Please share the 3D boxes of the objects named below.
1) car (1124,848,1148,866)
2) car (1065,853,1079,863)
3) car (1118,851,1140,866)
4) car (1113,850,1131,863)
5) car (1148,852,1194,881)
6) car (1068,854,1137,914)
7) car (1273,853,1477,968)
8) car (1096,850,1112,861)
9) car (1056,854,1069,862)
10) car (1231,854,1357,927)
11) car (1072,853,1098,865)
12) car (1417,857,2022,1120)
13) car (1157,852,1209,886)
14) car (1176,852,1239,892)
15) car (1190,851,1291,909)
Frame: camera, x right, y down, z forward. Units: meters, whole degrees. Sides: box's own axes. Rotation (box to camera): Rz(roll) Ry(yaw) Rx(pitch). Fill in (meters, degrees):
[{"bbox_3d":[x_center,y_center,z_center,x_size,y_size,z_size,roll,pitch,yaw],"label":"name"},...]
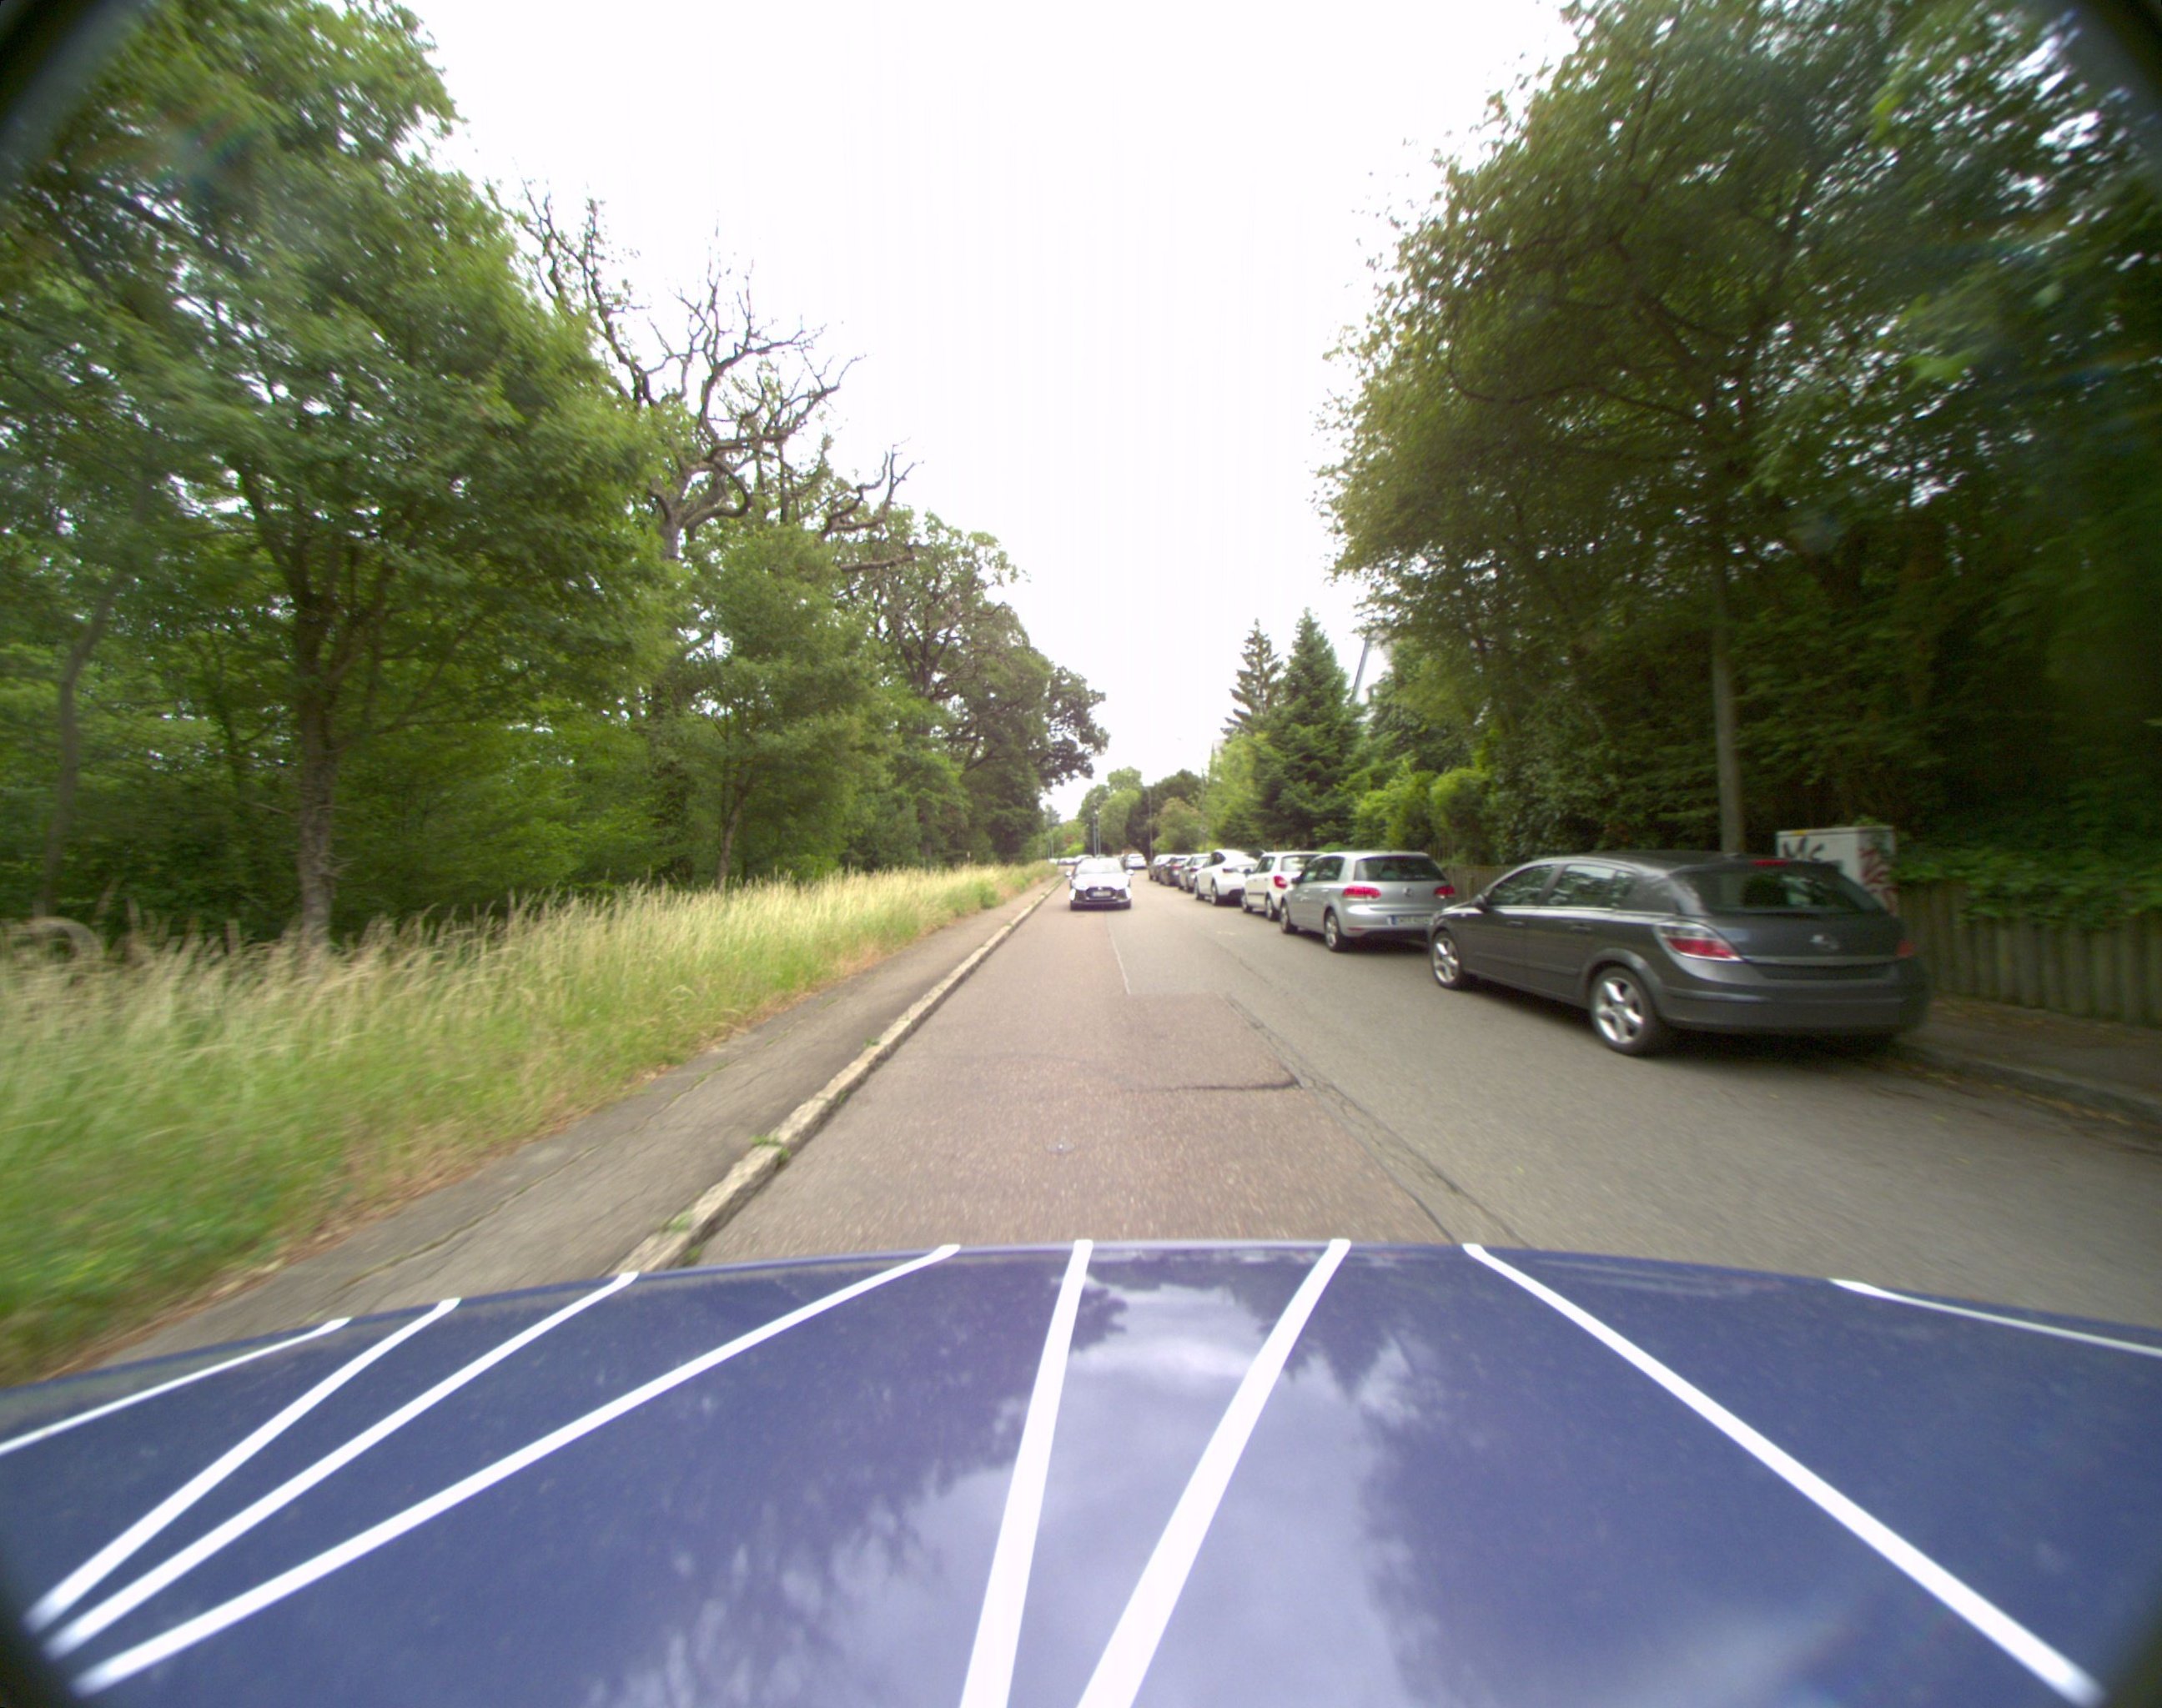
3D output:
[{"bbox_3d":[5.014,0.250,69.629,1.788,1.491,4.014,-3,0,-1],"label":"car"},{"bbox_3d":[-1.785,0.790,147.700,2.000,1.678,4.706,-3,0,-10],"label":"car"},{"bbox_3d":[5.019,0.478,79.988,1.788,1.431,4.323,-4,0,-2],"label":"car"},{"bbox_3d":[4.857,0.333,90.623,1.741,1.431,3.786,-3,0,-2],"label":"car"},{"bbox_3d":[4.872,0.636,41.731,1.853,1.431,4.909,-1,0,-1],"label":"car"},{"bbox_3d":[0.562,0.813,22.393,1.788,1.491,4.014,-3,0,-1],"label":"car"},{"bbox_3d":[4.400,0.747,12.078,1.724,1.496,4.008,0,0,1],"label":"car"},{"bbox_3d":[3.273,0.198,109.967,1.765,1.441,4.041,-3,0,-6],"label":"car"},{"bbox_3d":[-4.012,0.903,162.212,2.000,1.678,4.706,-3,0,-10],"label":"car"},{"bbox_3d":[4.750,0.741,17.482,1.725,1.496,3.816,0,0,-2],"label":"car"},{"bbox_3d":[0.680,0.819,127.916,1.995,1.678,4.719,-3,0,34],"label":"car"},{"bbox_3d":[4.625,0.794,6.466,1.725,1.496,4.060,0,1,0],"label":"car"},{"bbox_3d":[4.703,0.656,35.559,1.739,1.431,4.261,-1,0,-2],"label":"car"},{"bbox_3d":[4.895,0.675,29.956,1.839,1.431,4.116,-1,0,1],"label":"car"},{"bbox_3d":[4.609,0.685,22.683,1.921,1.553,4.603,0,0,-2],"label":"car"}]
